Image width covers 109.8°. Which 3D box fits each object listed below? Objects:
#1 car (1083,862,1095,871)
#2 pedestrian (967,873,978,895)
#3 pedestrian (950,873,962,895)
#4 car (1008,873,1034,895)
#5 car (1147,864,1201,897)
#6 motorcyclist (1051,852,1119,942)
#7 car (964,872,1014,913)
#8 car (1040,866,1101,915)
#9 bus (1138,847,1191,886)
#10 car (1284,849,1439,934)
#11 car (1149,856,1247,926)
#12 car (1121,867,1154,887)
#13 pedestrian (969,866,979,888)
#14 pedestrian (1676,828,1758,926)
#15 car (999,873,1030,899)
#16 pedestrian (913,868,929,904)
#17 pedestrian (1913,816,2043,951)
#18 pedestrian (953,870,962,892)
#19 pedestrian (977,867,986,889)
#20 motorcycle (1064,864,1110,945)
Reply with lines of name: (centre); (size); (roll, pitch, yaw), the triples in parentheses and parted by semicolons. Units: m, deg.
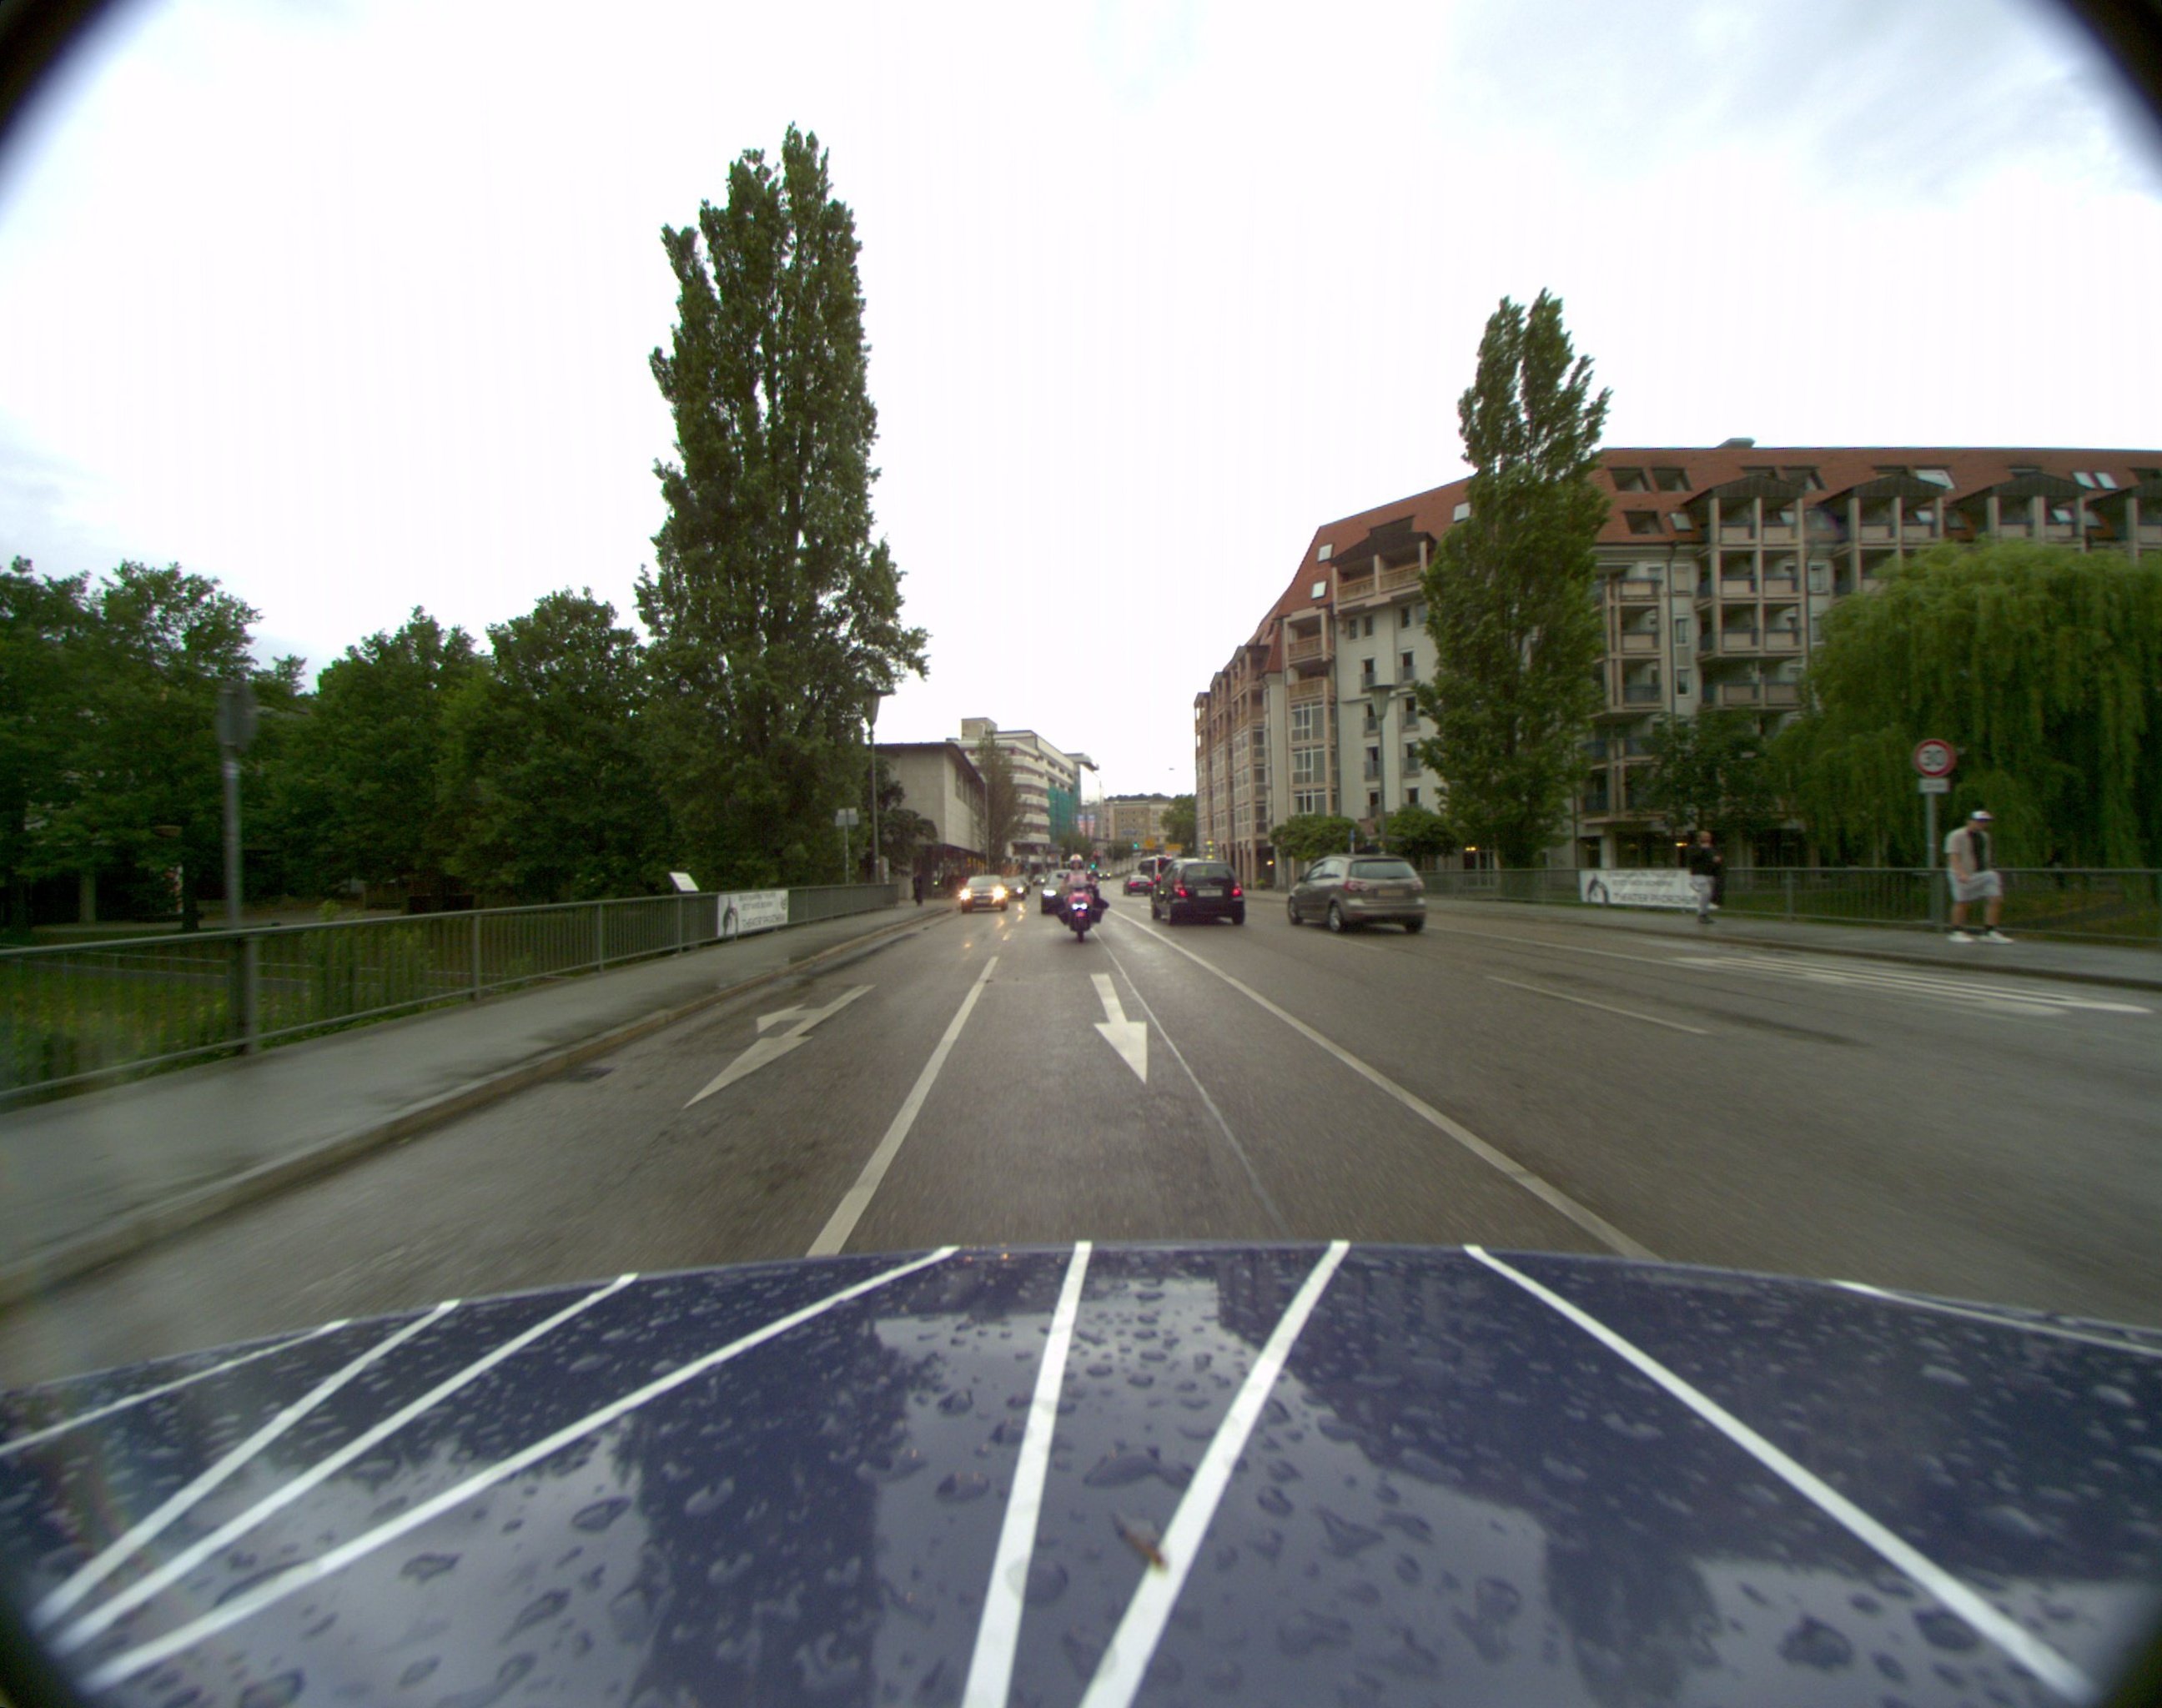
car: (1.746, 2.654, 164.072); (1.830, 1.727, 4.001); (-1, 3, 11)
pedestrian: (-7.760, 2.146, 54.446); (0.719, 1.610, 0.769); (0, 0, -2)
pedestrian: (-8.968, 2.166, 54.466); (0.728, 1.580, 0.606); (0, 0, -2)
car: (-5.071, 2.510, 65.179); (1.735, 1.669, 4.249); (-3, 0, 1)
car: (4.699, 1.310, 39.011); (1.841, 1.501, 4.819); (-1, -1, -4)
motorcyclist: (0.055, 0.852, 15.449); (1.296, 1.756, 0.845); (-2, 0, -3)
car: (-3.629, 1.502, 30.434); (1.713, 1.448, 3.742); (-2, -2, -3)
car: (-0.361, 1.225, 26.794); (1.938, 1.510, 4.469); (-2, -1, -1)
bus: (7.129, 1.214, 66.811); (2.752, 3.056, 12.238); (1, -2, -3)
car: (5.787, 0.736, 16.231); (1.741, 1.592, 3.919); (0, -1, -2)
car: (2.833, 0.874, 19.256); (1.741, 1.592, 3.919); (0, -1, -2)
car: (3.964, 1.619, 54.081); (1.796, 1.317, 4.406); (-1, -1, -3)
pedestrian: (-8.625, 1.846, 61.319); (0.700, 1.791, 0.606); (0, 0, -2)
pedestrian: (12.132, 0.430, 14.524); (0.700, 1.783, 0.958); (-3, 0, -1)
car: (-3.960, 1.898, 45.726); (1.596, 1.432, 3.627); (-2, -1, -2)
pedestrian: (-7.329, 1.472, 34.801); (0.641, 1.654, 0.563); (-1, -2, -3)
pedestrian: (12.483, 0.401, 10.607); (0.799, 1.783, 0.812); (-3, 0, 0)
pedestrian: (-9.985, 2.176, 61.459); (0.537, 1.708, 0.535); (-1, 0, 6)
pedestrian: (-8.060, 1.924, 61.364); (0.655, 1.756, 0.923); (0, 0, -2)
motorcycle: (0.081, 0.972, 15.709); (0.832, 1.479, 2.865); (-2, 0, -2)
